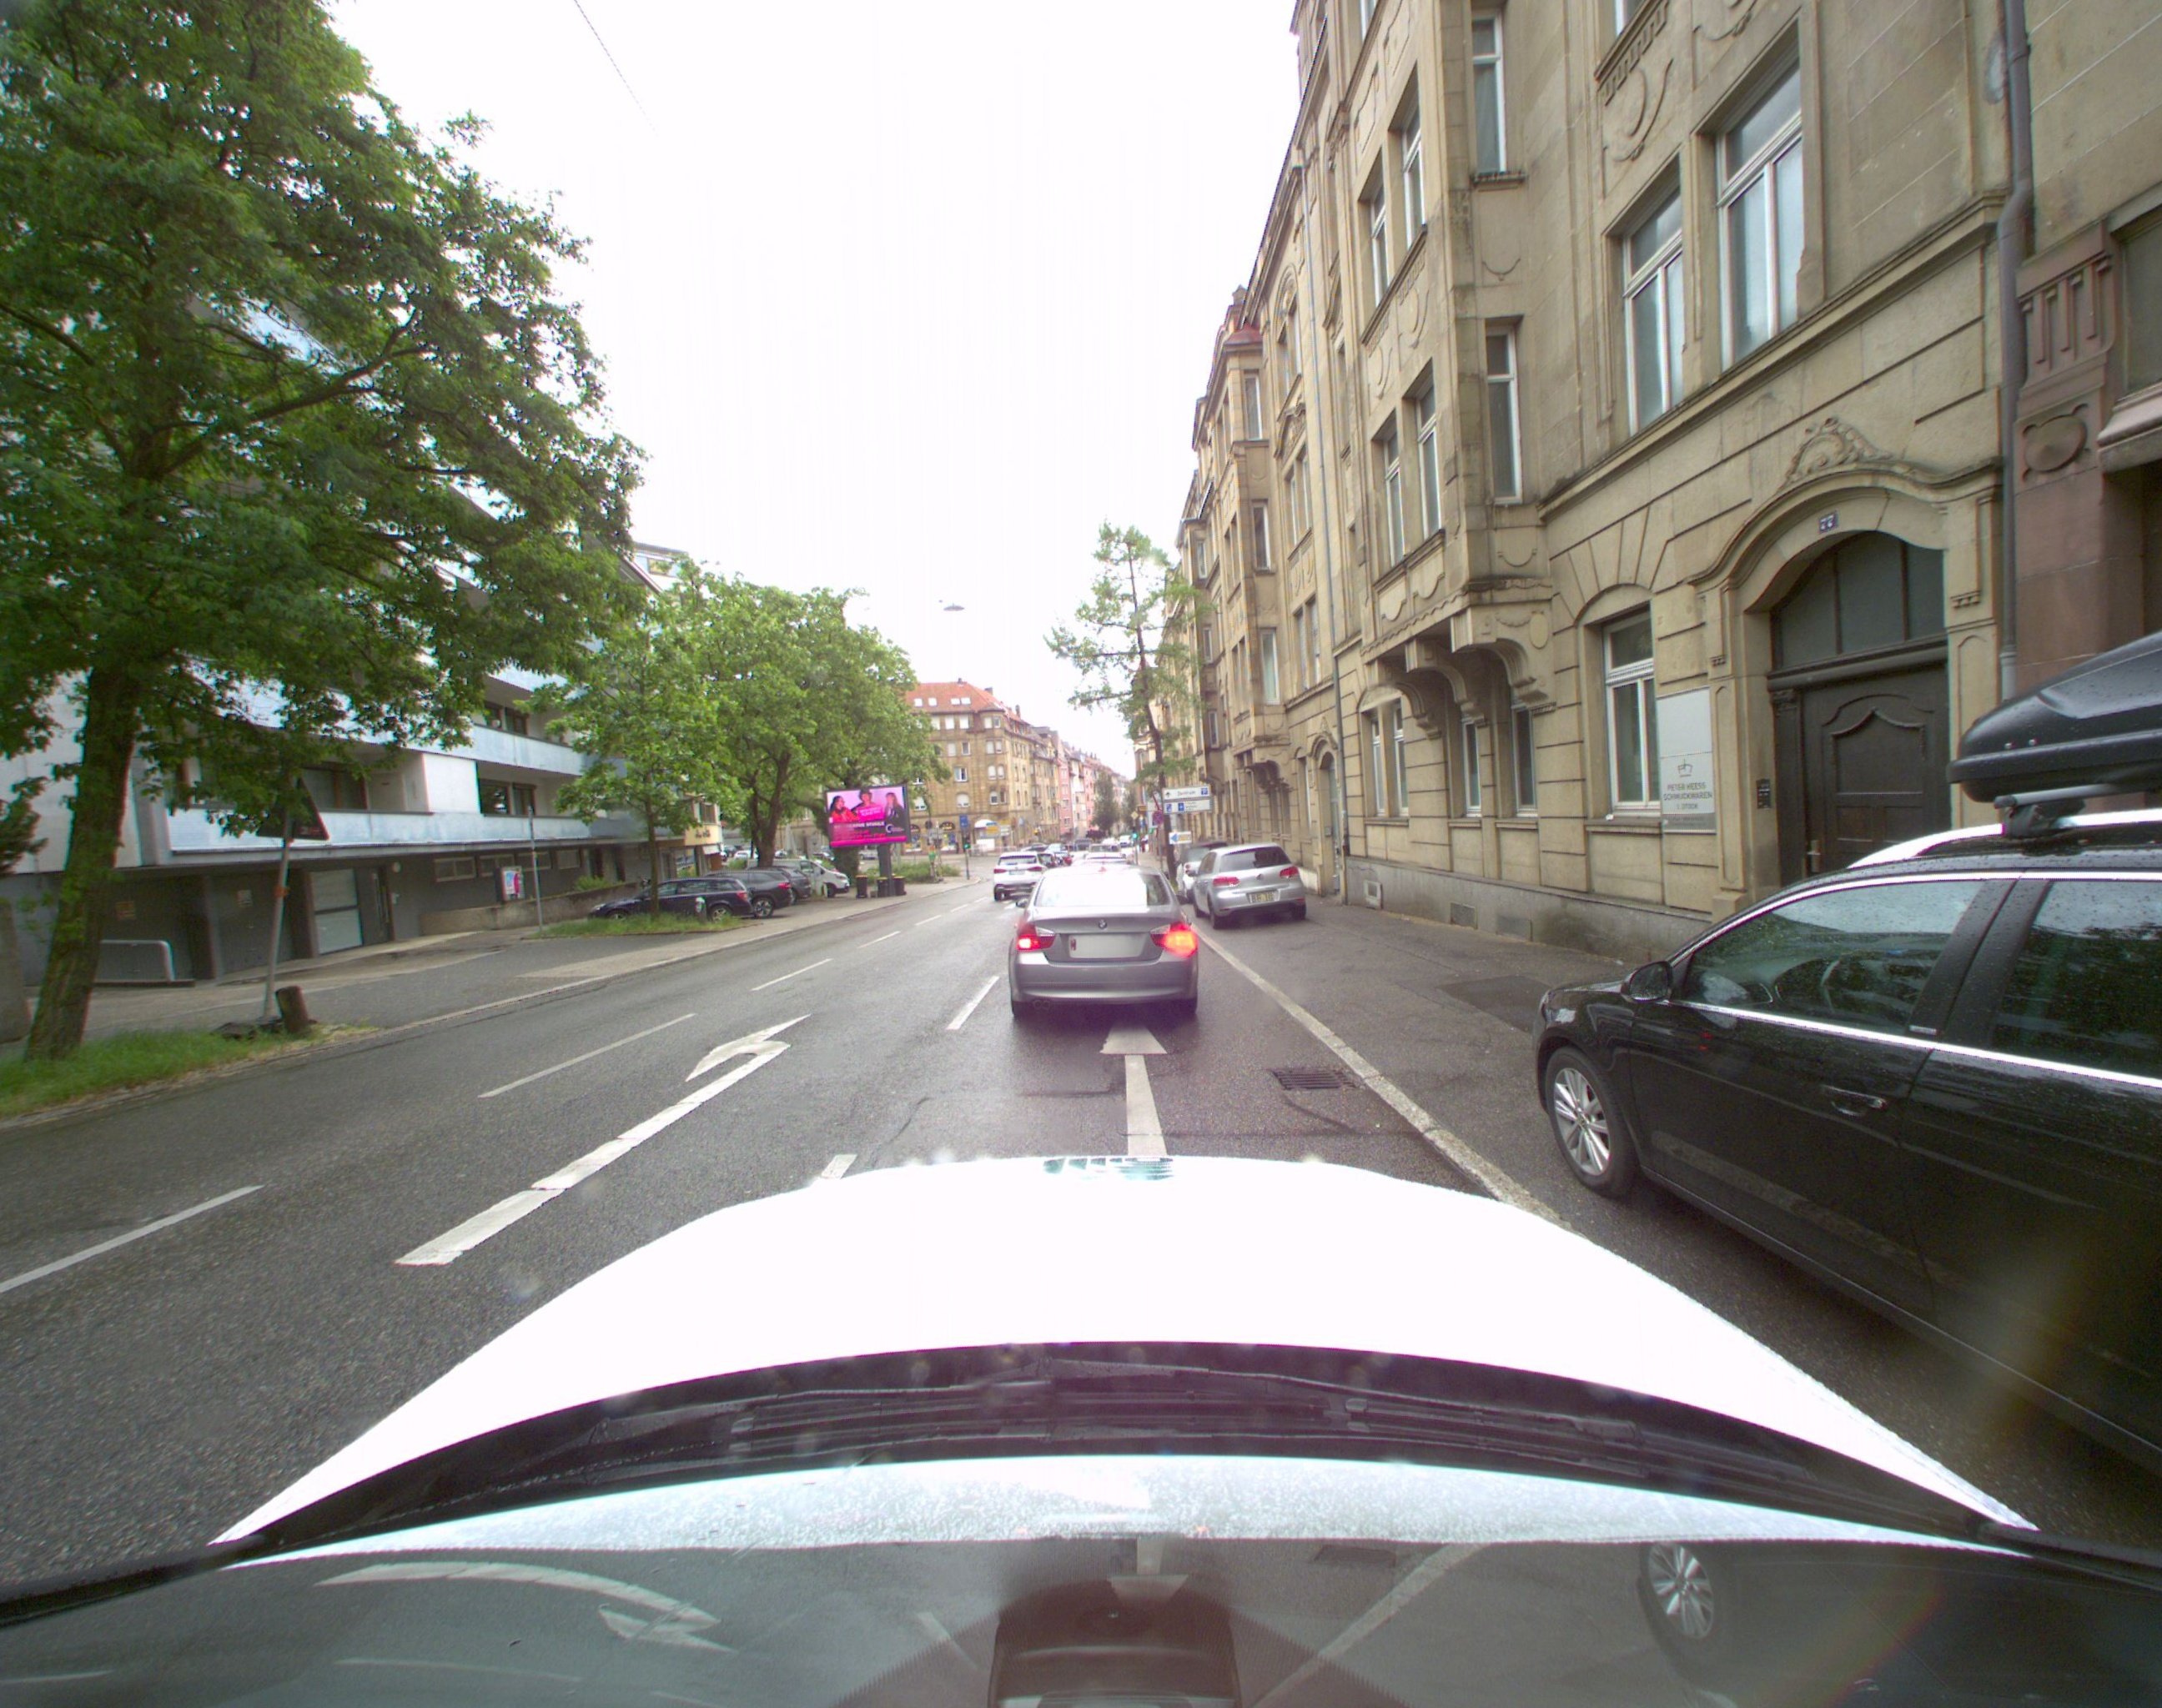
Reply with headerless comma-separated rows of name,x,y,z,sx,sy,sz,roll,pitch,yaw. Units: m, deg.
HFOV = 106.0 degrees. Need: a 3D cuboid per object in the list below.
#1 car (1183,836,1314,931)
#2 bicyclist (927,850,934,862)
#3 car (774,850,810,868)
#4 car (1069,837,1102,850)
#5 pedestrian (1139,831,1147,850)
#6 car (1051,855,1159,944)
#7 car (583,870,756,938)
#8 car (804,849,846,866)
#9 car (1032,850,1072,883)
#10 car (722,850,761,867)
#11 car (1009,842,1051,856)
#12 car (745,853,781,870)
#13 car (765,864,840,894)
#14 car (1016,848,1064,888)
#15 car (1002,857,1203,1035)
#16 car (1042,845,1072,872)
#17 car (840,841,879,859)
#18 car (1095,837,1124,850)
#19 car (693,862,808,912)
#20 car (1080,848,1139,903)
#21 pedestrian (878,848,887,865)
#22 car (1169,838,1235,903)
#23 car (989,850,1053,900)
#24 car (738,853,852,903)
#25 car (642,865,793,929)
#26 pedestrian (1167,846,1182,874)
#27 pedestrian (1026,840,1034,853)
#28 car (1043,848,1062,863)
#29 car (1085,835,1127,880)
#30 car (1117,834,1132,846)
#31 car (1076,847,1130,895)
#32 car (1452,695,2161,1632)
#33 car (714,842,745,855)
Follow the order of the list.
car,3.196,0.505,16.329,1.753,1.451,4.001,-7,0,1
bicyclist,-16.423,0.206,88.767,0.565,1.273,0.692,-1,-1,14
car,-36.639,0.622,103.263,4.238,2.101,2.013,0,2,30
car,0.792,-1.700,129.953,5.158,2.014,2.699,0,-1,1
pedestrian,6.455,-1.429,85.107,0.740,1.910,0.659,-3,0,1
car,0.507,0.763,15.624,1.752,1.383,4.003,-2,0,3
car,-12.221,1.434,24.563,4.373,1.574,1.930,-4,0,-21
car,-27.449,0.403,87.380,4.194,1.726,2.013,-1,2,32
car,-1.554,0.646,45.010,1.752,1.707,4.003,-2,0,3
car,-39.369,0.546,94.437,4.195,1.726,2.013,-2,3,31
car,-6.083,-0.602,97.276,4.679,1.578,1.976,0,-1,-41
car,-41.436,0.939,106.088,4.238,2.101,2.013,0,2,30
car,-16.228,1.442,47.539,3.984,1.450,1.758,-3,0,-19
car,-1.855,0.592,38.040,1.752,1.707,4.003,-2,0,3
car,0.270,0.771,8.541,1.617,1.383,3.618,-2,0,3
car,-1.646,0.291,57.089,1.753,1.707,4.002,-2,0,2
car,-26.513,-0.452,97.563,4.238,2.101,2.013,0,2,30
car,3.805,-1.337,107.005,1.974,1.578,4.025,-1,-1,34
car,-13.932,1.365,34.616,4.370,1.784,1.927,-3,0,-19
car,0.872,0.565,24.039,1.588,1.464,4.003,-1,0,3
pedestrian,-20.018,0.254,82.123,0.532,1.577,0.723,-4,0,17
car,3.313,0.414,22.666,1.295,1.543,2.977,-7,0,1
car,-2.080,0.700,29.375,1.861,1.625,4.001,-2,0,1
car,-13.962,1.149,40.025,5.076,2.105,1.979,-3,0,-19
car,-12.014,1.377,27.234,4.382,1.672,1.842,-4,0,-21
pedestrian,5.354,0.341,46.609,0.629,1.508,0.693,-7,0,1
pedestrian,-6.346,-0.969,101.437,0.727,1.577,0.530,-3,0,10
car,-2.937,0.136,84.173,1.709,1.450,3.743,-3,0,1
car,1.267,0.164,41.091,1.986,2.106,4.002,-2,0,2
car,6.455,-2.074,120.195,1.983,1.578,4.008,0,-1,7
car,0.745,0.578,29.683,1.754,1.567,3.999,-2,0,0
car,2.711,0.448,1.945,1.753,1.651,4.101,-7,0,2
car,-47.116,-0.699,109.143,3.949,1.689,1.738,-1,-1,29
